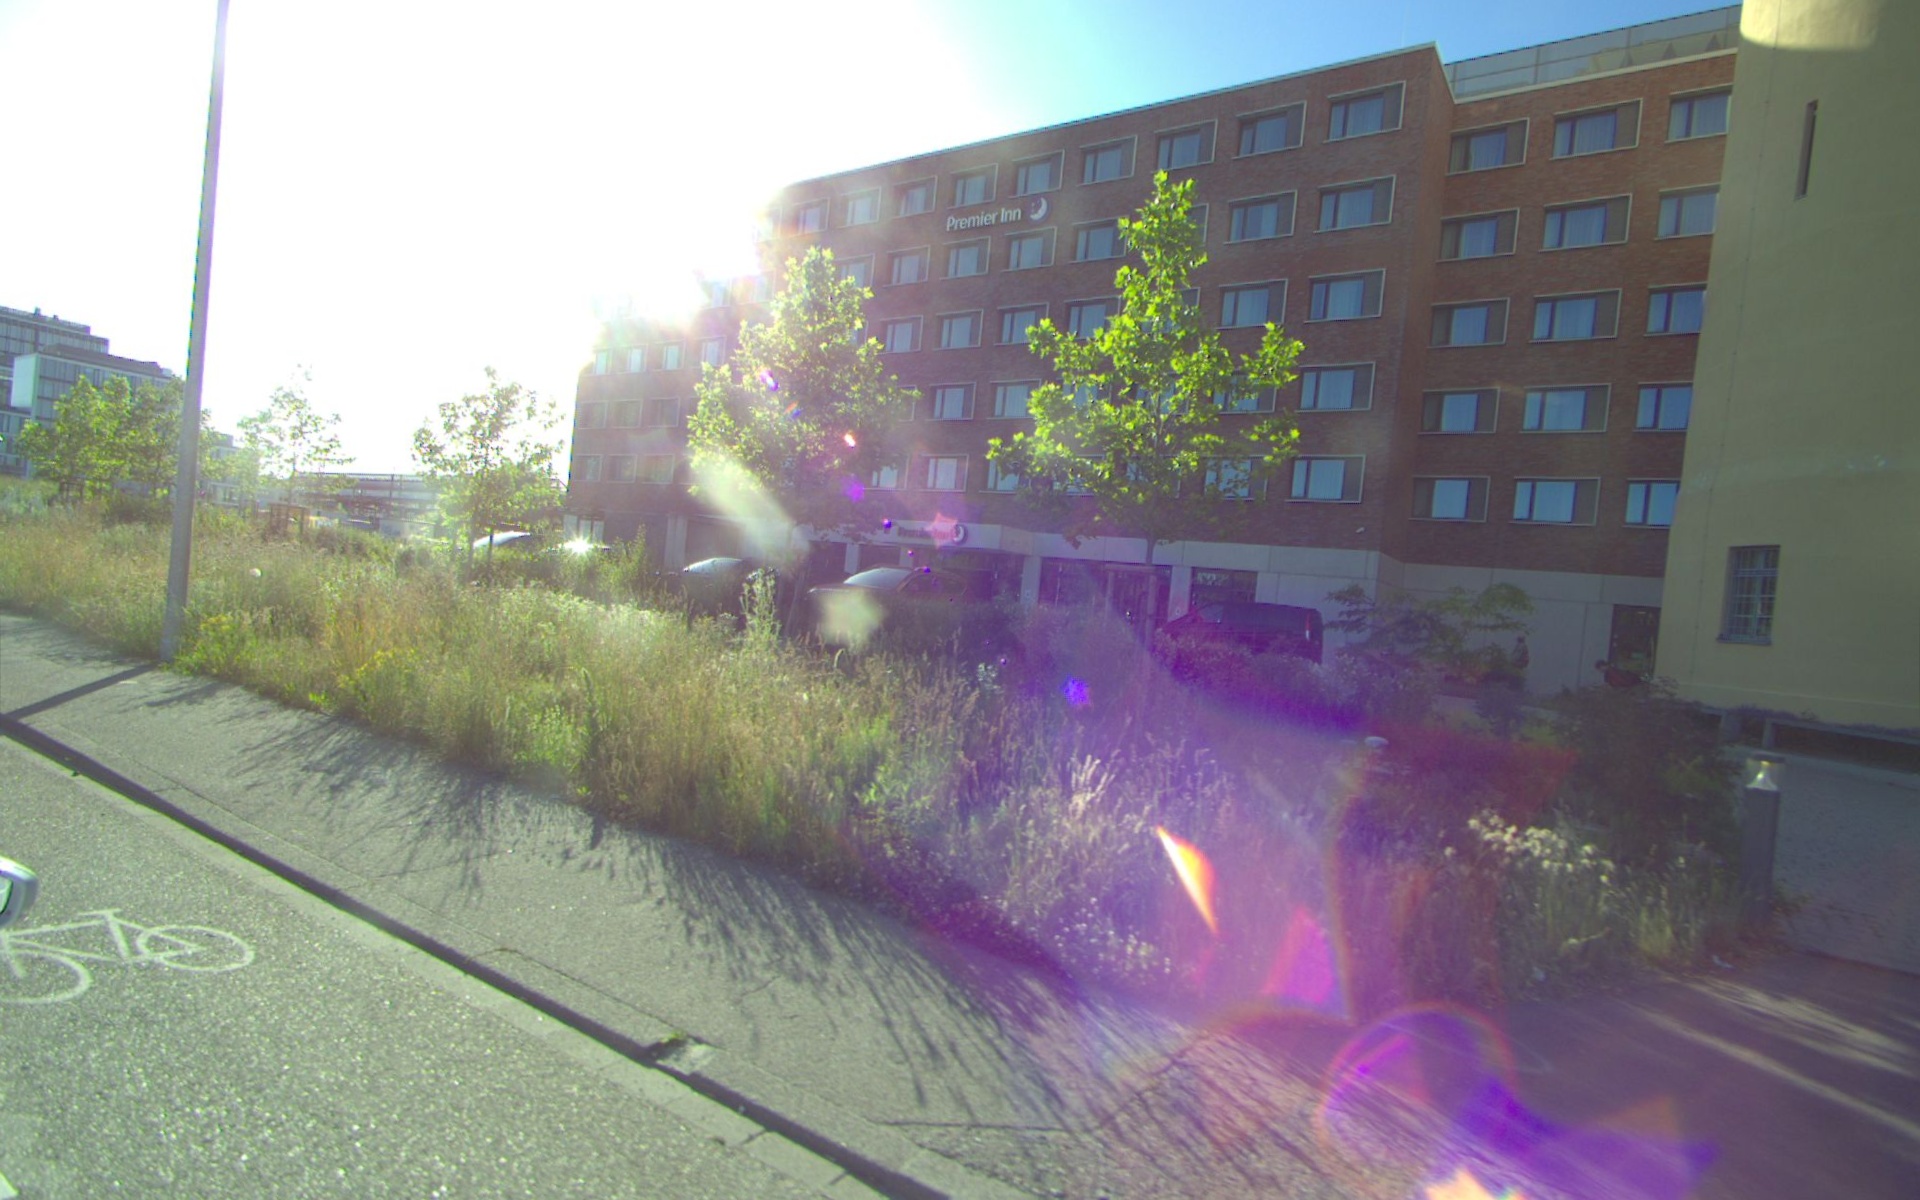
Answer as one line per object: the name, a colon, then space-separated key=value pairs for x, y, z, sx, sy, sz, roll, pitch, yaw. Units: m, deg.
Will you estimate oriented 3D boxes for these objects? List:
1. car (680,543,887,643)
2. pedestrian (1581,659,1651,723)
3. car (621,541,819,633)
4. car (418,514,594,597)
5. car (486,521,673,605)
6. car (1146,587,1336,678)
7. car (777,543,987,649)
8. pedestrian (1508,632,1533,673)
car: x=-3.696 y=-0.095 z=21.751 sx=1.823 sy=1.599 sz=4.186 roll=7 pitch=-1 yaw=36
pedestrian: x=13.349 y=1.847 z=20.490 sx=0.746 sy=1.151 sz=0.812 roll=5 pitch=1 yaw=-22
car: x=-5.477 y=-0.247 z=23.429 sx=1.823 sy=1.599 sz=4.186 roll=7 pitch=-1 yaw=36
car: x=-12.647 y=-1.196 z=28.231 sx=1.823 sy=1.726 sz=3.988 roll=7 pitch=-1 yaw=36
car: x=-9.930 y=-0.937 z=26.517 sx=1.823 sy=1.599 sz=4.186 roll=7 pitch=-1 yaw=36
car: x=8.039 y=0.920 z=28.912 sx=4.716 sy=1.959 sz=1.973 roll=7 pitch=0 yaw=34
car: x=-1.446 y=-0.023 z=20.224 sx=1.823 sy=1.599 sz=4.186 roll=7 pitch=-1 yaw=36
pedestrian: x=16.495 y=1.554 z=29.618 sx=0.524 sy=1.154 sz=0.342 roll=6 pitch=0 yaw=29
